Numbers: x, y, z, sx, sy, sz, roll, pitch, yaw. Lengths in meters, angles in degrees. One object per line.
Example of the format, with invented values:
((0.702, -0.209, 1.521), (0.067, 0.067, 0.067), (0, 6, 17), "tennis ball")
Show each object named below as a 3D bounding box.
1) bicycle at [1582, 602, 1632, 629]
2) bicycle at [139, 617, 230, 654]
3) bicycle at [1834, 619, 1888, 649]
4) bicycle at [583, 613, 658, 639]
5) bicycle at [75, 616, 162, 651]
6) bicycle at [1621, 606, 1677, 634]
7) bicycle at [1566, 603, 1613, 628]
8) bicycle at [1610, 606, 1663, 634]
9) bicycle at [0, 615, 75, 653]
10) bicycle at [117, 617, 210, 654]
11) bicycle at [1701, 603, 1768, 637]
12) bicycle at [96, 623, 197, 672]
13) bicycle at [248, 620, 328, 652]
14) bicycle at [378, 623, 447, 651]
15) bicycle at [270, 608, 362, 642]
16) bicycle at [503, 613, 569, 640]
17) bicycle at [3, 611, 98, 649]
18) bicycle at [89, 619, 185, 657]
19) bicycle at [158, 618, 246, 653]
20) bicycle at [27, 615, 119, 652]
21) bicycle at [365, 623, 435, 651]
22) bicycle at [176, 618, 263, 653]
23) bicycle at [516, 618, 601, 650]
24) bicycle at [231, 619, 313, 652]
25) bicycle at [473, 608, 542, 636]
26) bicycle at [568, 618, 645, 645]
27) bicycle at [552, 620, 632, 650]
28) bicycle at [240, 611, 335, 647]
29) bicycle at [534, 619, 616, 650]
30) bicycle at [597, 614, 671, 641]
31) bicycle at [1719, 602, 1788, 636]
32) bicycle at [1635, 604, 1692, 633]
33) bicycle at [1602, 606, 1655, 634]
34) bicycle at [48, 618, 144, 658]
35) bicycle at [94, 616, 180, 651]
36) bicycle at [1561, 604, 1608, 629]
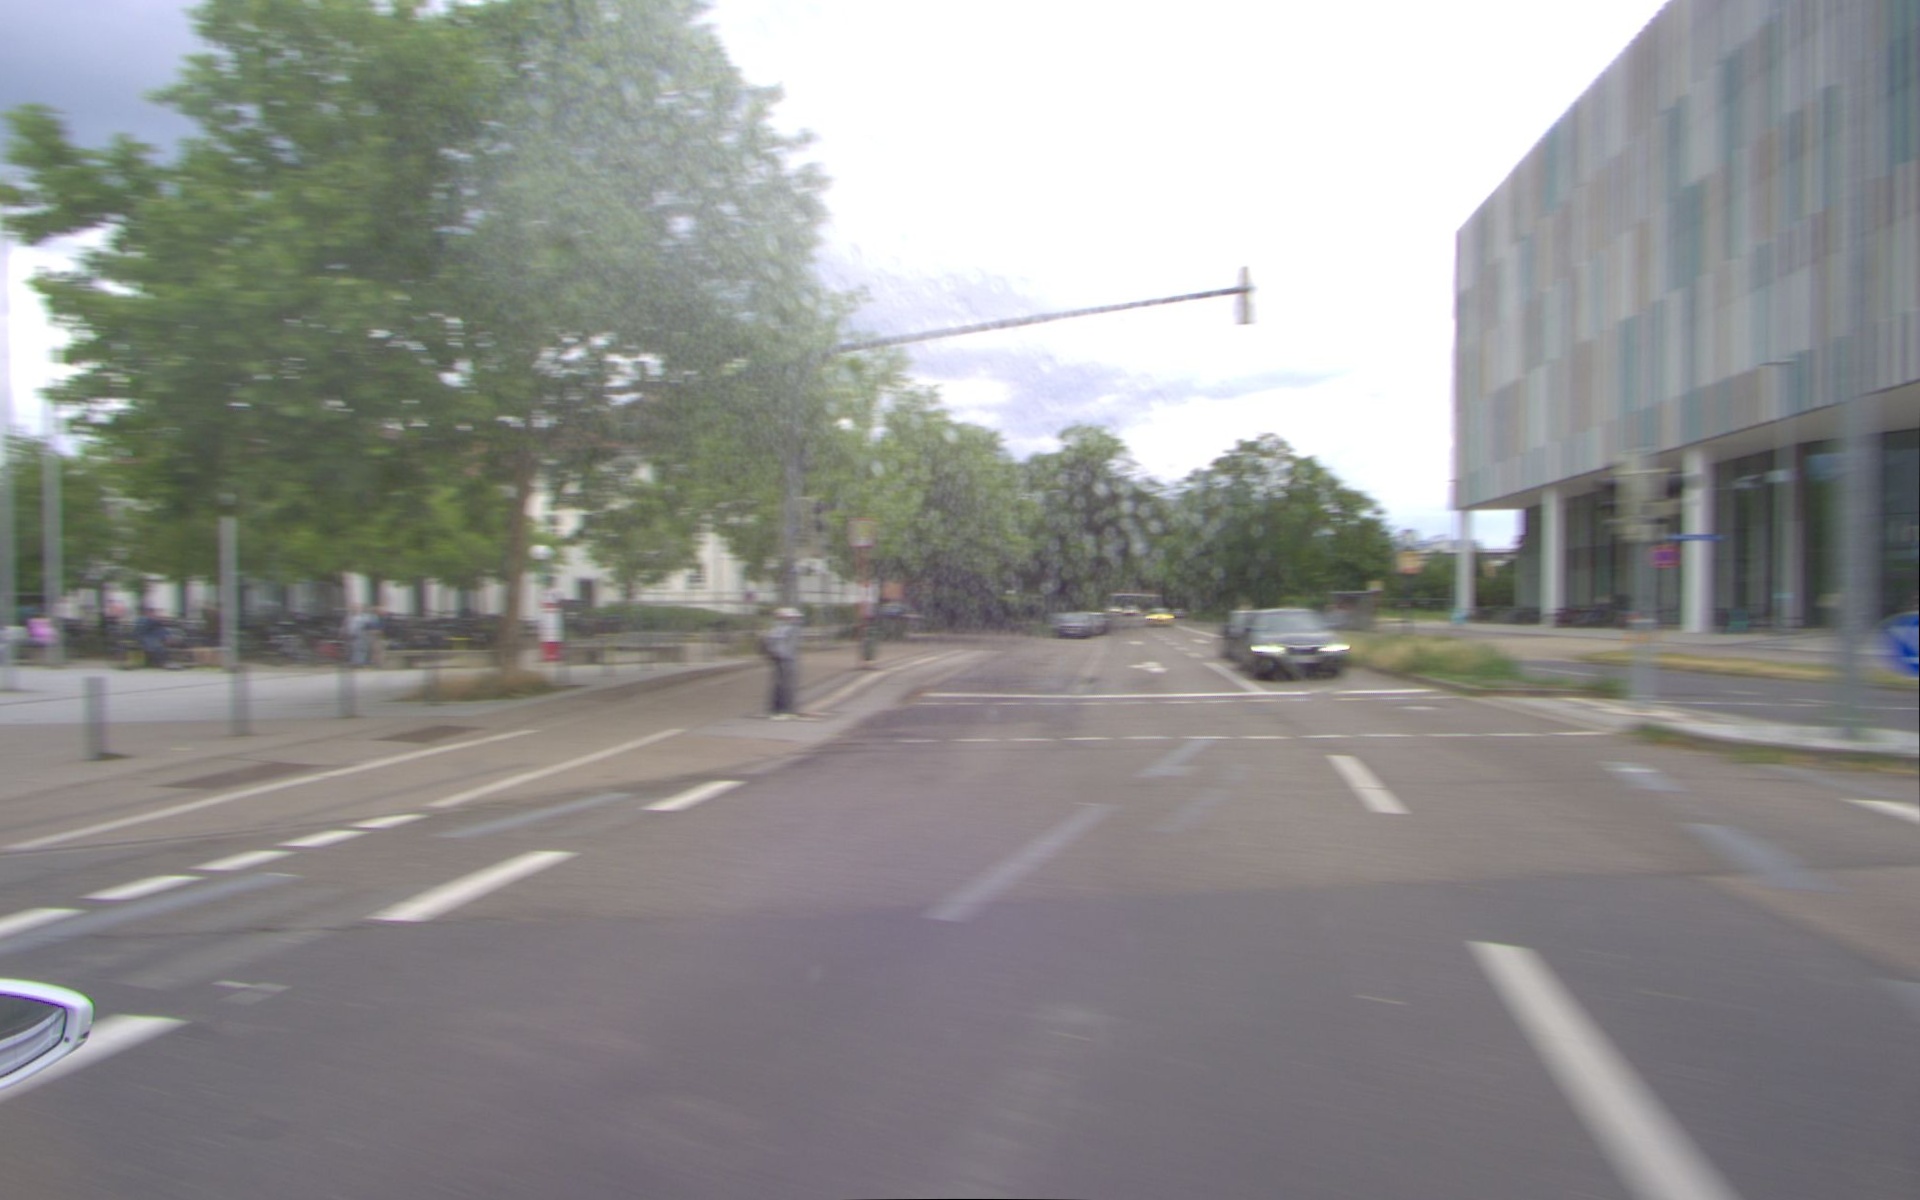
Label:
((33.458, 0.823, 51.808), (2.063, 1.275, 0.629), (3, -1, 7), "bicycle")
((-28.480, 1.298, 36.764), (3.048, 1.185, 0.748), (2, -1, 10), "bicycle")
((29.932, 1.108, 33.302), (0.608, 0.938, 1.913), (0, 0, 18), "bicycle")
((-16.073, 1.234, 47.374), (3.331, 1.185, 1.055), (0, -1, 14), "bicycle")
((-32.044, 1.271, 38.135), (3.048, 1.185, 0.748), (2, -1, 10), "bicycle")
((33.078, 0.956, 48.082), (2.065, 1.275, 0.628), (2, -1, 13), "bicycle")
((33.282, 0.829, 52.948), (2.064, 1.275, 0.628), (0, 0, 7), "bicycle")
((33.129, 0.991, 49.041), (2.063, 1.275, 0.629), (3, -1, 7), "bicycle")
((-32.370, 1.173, 34.706), (3.048, 1.185, 0.748), (2, -1, 10), "bicycle")
((-28.637, 1.264, 35.997), (3.048, 1.185, 0.748), (2, -1, 10), "bicycle")
((31.953, 0.819, 41.318), (2.065, 1.275, 0.628), (2, -1, 13), "bicycle")
((-21.747, 1.266, 26.771), (2.367, 1.185, 0.457), (3, -1, 4), "bicycle")
((-27.863, 1.488, 41.532), (3.048, 1.185, 0.748), (2, -1, 9), "bicycle")
((-26.340, 1.786, 48.167), (3.048, 1.185, 0.748), (2, -1, 9), "bicycle")
((-22.876, 0.871, 35.589), (3.048, 1.185, 0.747), (0, -1, 10), "bicycle")
((-20.984, 1.290, 49.512), (3.048, 1.185, 0.748), (2, -1, 10), "bicycle")
((-32.225, 1.059, 35.485), (3.048, 1.185, 0.748), (2, -1, 10), "bicycle")
((-28.850, 1.324, 35.098), (3.048, 1.185, 0.748), (2, -1, 10), "bicycle")
((-28.408, 1.327, 37.531), (3.048, 1.185, 0.748), (2, -1, 11), "bicycle")
((-32.119, 1.204, 36.261), (3.048, 1.185, 0.748), (2, -1, 10), "bicycle")
((-26.468, 1.751, 47.306), (3.048, 1.185, 0.748), (2, -1, 9), "bicycle")
((-28.349, 1.356, 38.316), (3.048, 1.185, 0.748), (2, -1, 10), "bicycle")
((-17.077, 1.450, 42.617), (3.331, 1.185, 1.055), (2, -1, 14), "bicycle")
((-28.006, 1.456, 40.766), (3.048, 1.185, 0.748), (2, -1, 9), "bicycle")
((-21.316, 1.046, 47.159), (3.048, 1.185, 0.748), (2, -1, 10), "bicycle")
((-16.354, 1.459, 46.276), (3.331, 1.185, 1.055), (-1, -1, 14), "bicycle")
((-16.607, 1.560, 45.196), (3.331, 1.185, 1.055), (2, -1, 14), "bicycle")
((-23.125, 0.985, 34.423), (3.048, 1.185, 0.747), (0, -1, 10), "bicycle")
((-16.910, 1.503, 43.954), (3.331, 1.185, 1.055), (2, -1, 14), "bicycle")
((-15.786, 1.335, 48.553), (3.331, 1.185, 1.055), (2, -1, 15), "bicycle")
((31.763, 0.769, 40.117), (2.065, 1.275, 0.628), (2, -1, 13), "bicycle")
((32.869, 0.863, 46.789), (2.065, 1.275, 0.628), (2, -1, 13), "bicycle")
((33.170, 1.016, 49.707), (2.063, 1.275, 0.629), (3, -1, 7), "bicycle")
((-29.030, 1.267, 33.647), (3.048, 1.185, 0.622), (2, -1, 10), "bicycle")
((-32.028, 1.299, 38.955), (3.048, 1.185, 0.748), (2, -1, 10), "bicycle")
((33.418, 0.882, 53.596), (2.063, 1.275, 0.629), (3, -1, 7), "bicycle")
